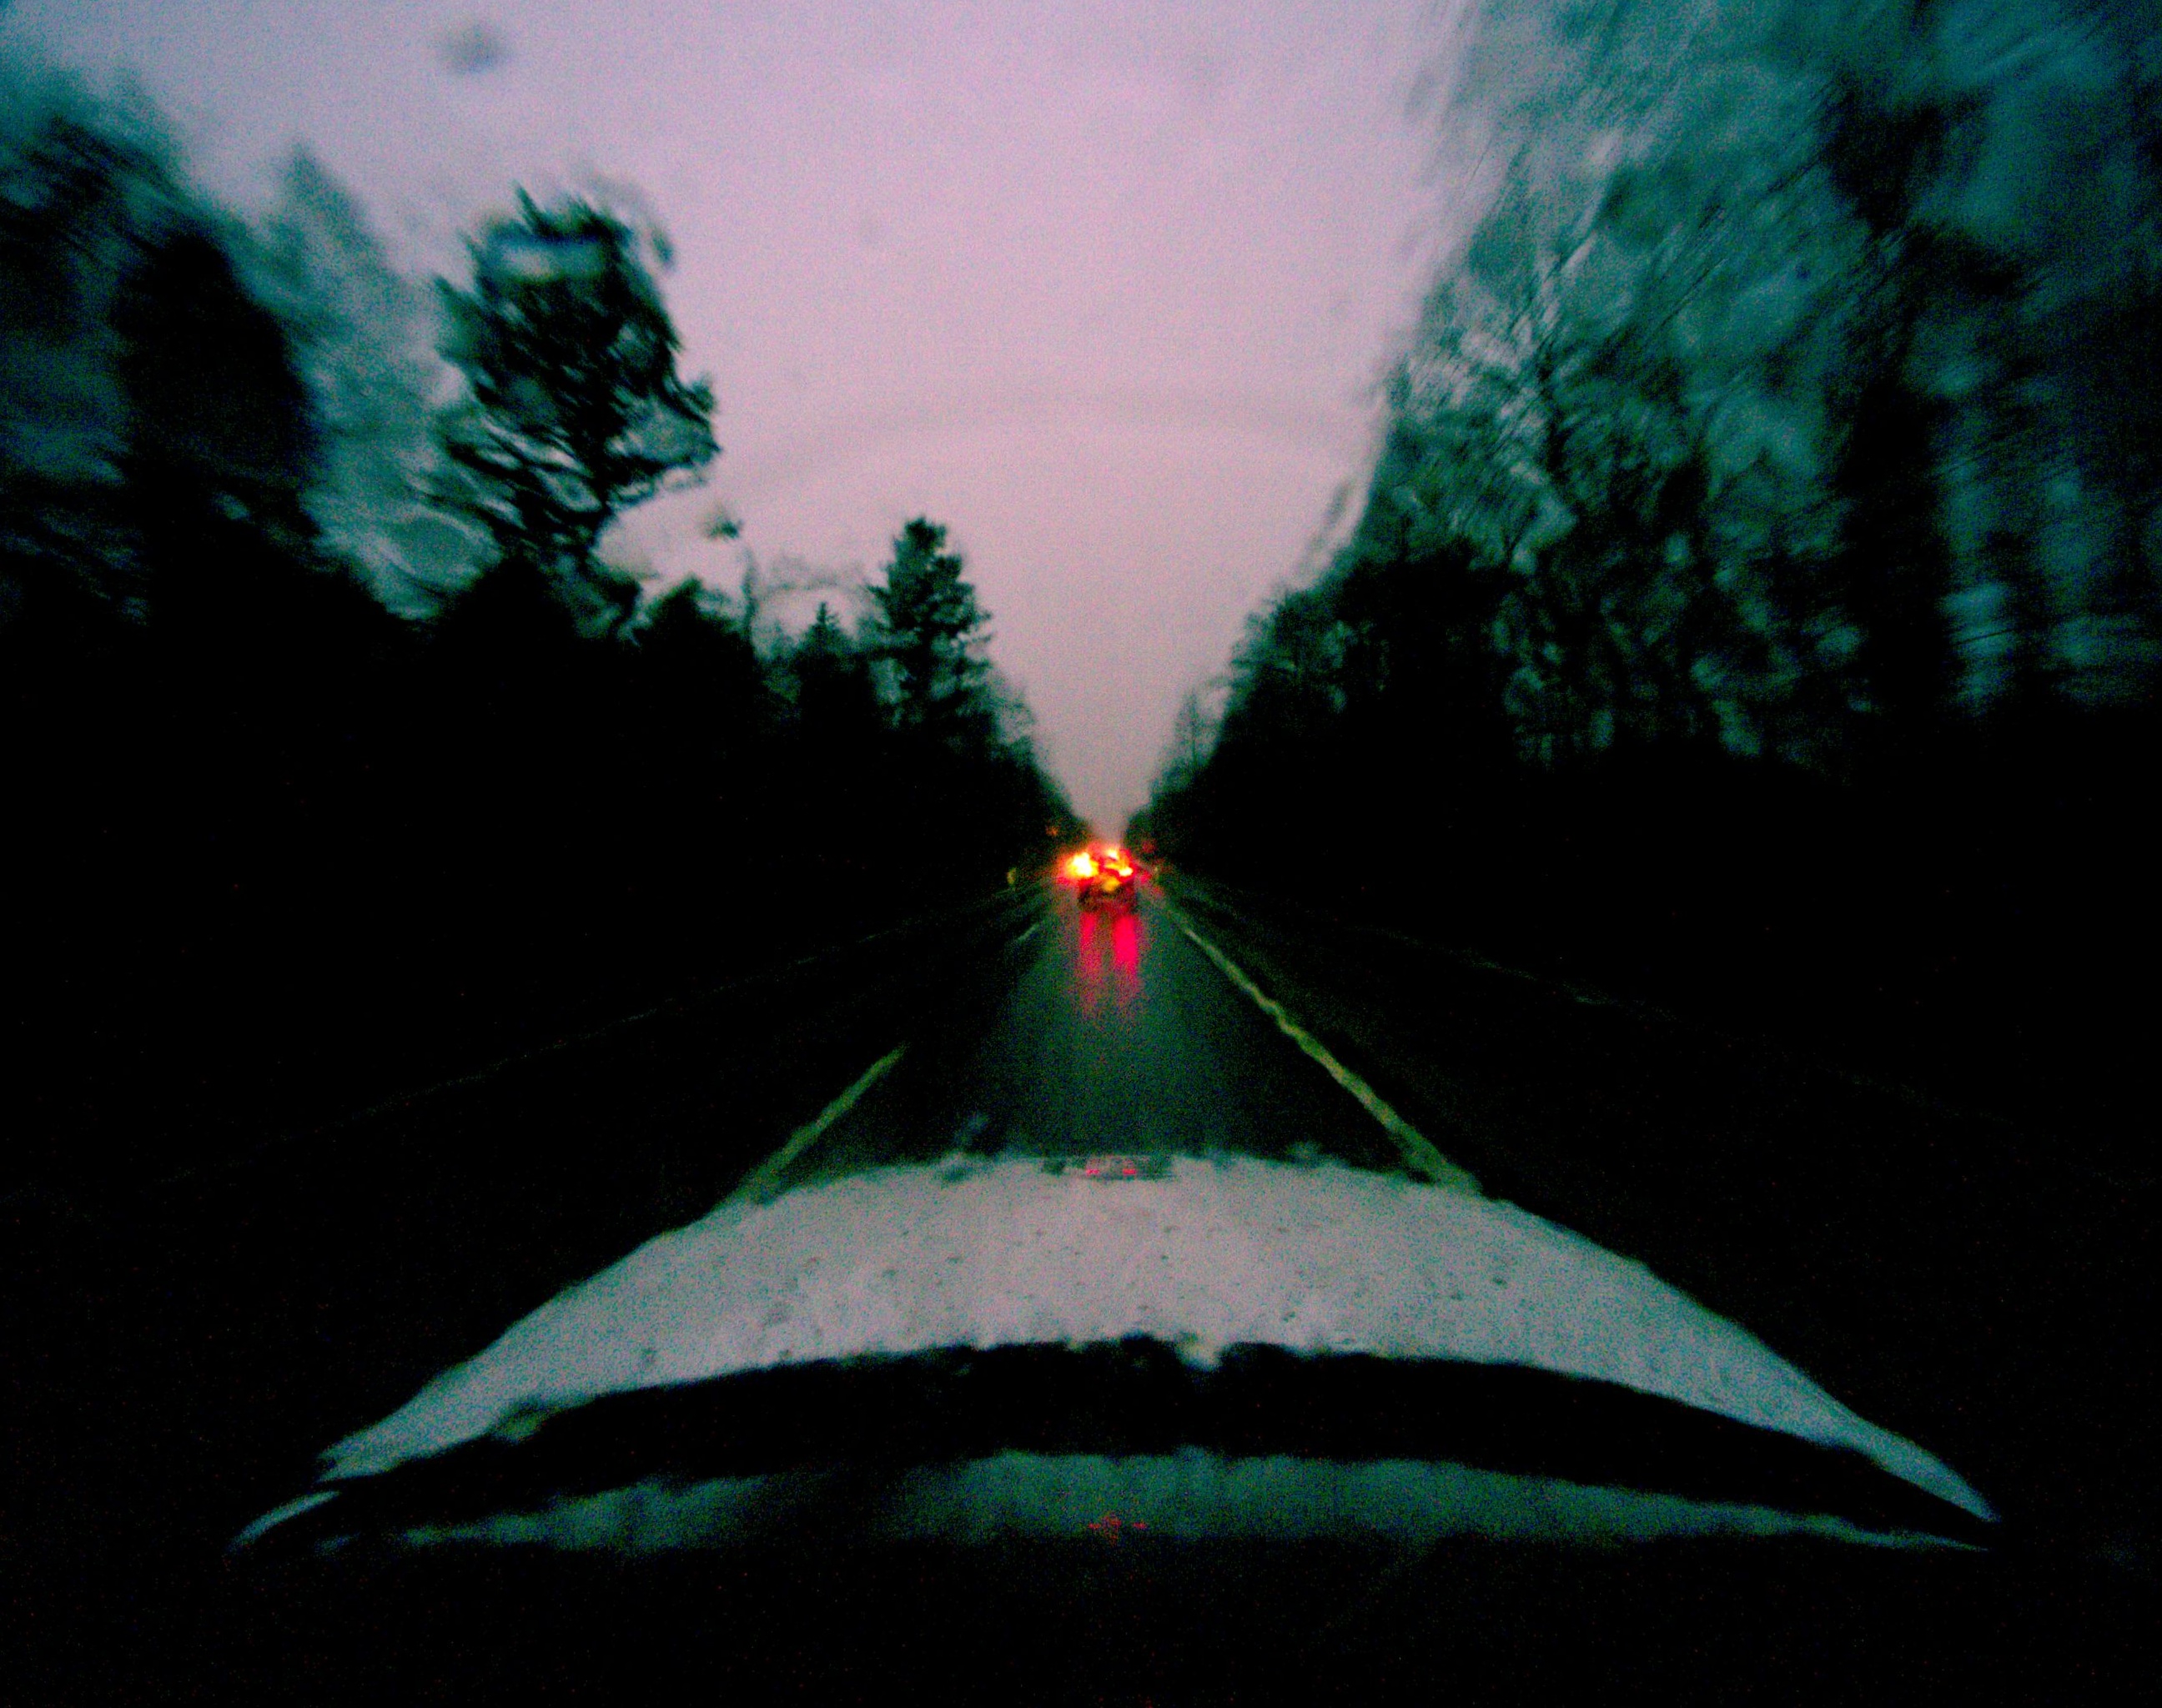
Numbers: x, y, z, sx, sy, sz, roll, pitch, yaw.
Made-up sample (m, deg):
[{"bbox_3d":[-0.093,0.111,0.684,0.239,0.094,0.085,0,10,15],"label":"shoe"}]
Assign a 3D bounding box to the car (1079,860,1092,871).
[{"bbox_3d":[0.643,1.560,114.132,1.507,1.413,3.663,-2,0,3],"label":"car"}]
